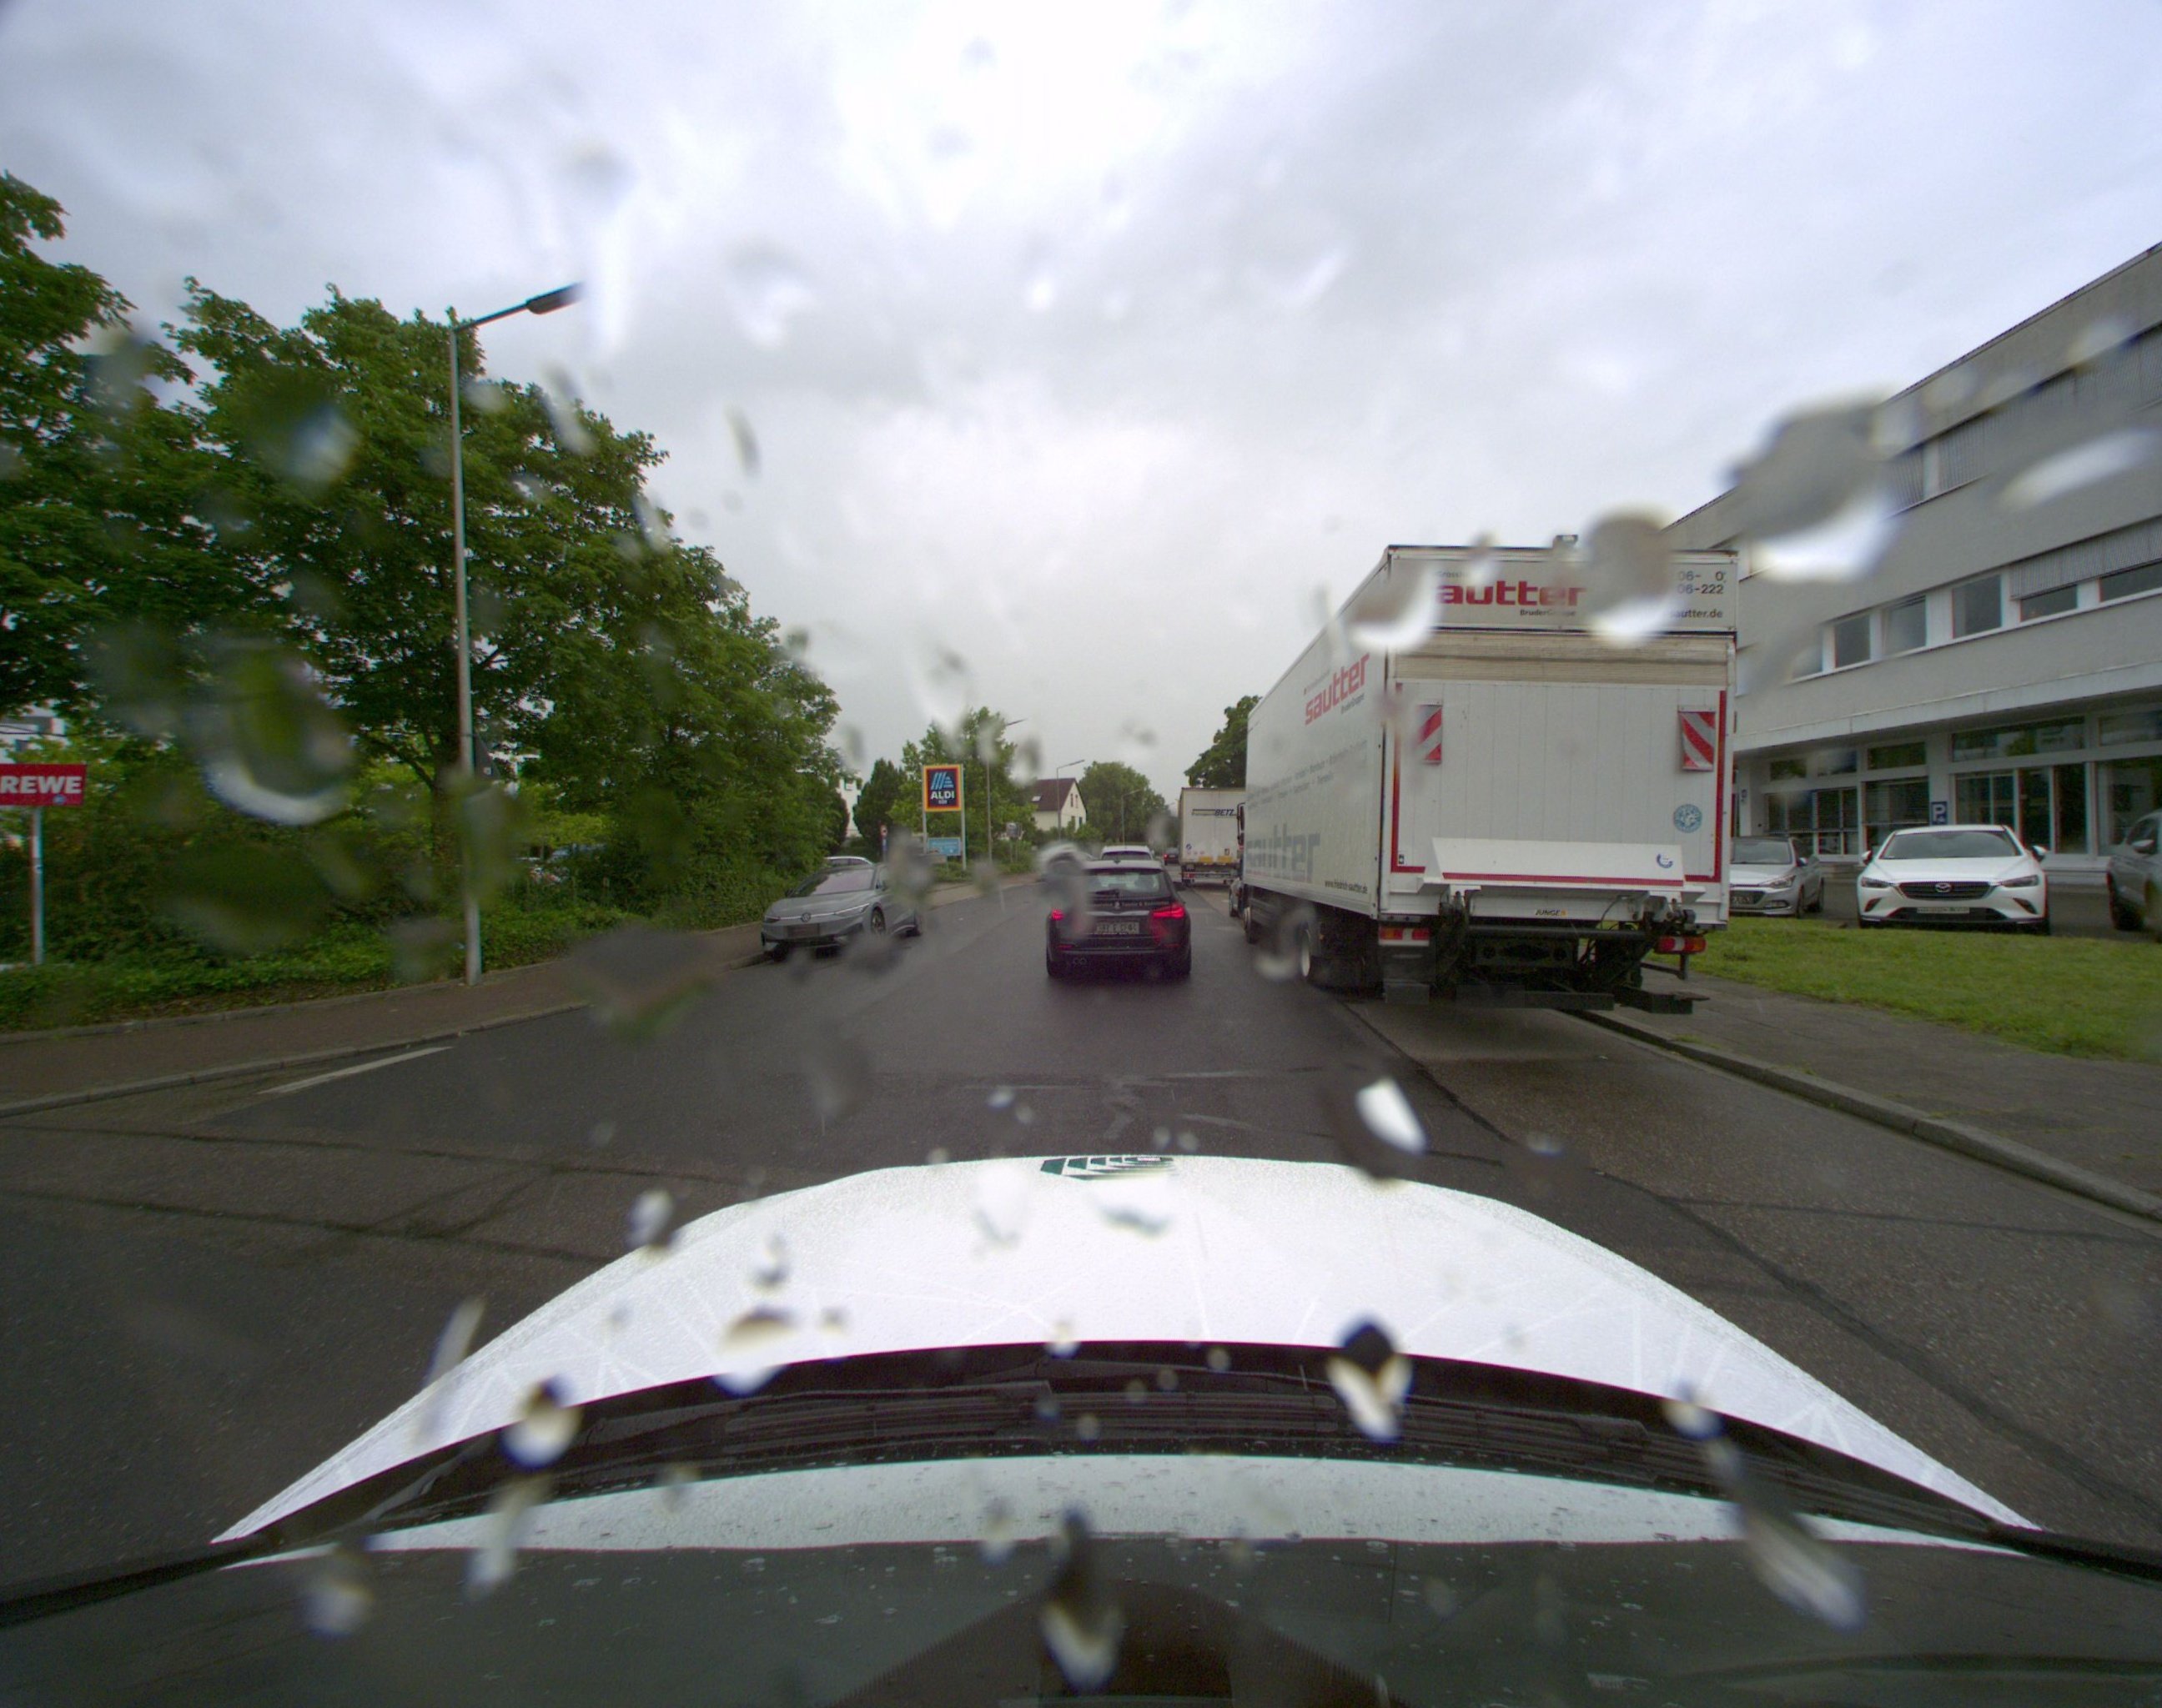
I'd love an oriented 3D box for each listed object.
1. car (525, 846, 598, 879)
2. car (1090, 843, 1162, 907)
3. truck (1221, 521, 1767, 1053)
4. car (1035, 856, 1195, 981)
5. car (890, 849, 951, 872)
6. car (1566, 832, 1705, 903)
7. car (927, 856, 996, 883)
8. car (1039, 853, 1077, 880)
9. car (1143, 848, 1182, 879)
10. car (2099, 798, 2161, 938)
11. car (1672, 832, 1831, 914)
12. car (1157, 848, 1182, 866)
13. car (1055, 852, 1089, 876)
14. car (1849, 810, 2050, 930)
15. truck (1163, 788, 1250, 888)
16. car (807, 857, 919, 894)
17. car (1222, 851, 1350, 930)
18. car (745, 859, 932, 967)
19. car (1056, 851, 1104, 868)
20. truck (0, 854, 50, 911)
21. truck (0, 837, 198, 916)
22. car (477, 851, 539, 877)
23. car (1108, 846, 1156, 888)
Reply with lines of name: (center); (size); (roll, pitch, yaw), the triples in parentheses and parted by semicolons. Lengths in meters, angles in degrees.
car: (-38.401, 0.616, 60.365); (1.985, 2.297, 4.818); (-2, 0, 3)
car: (1.167, 0.527, 22.518); (1.798, 1.586, 4.000); (-1, 0, 1)
truck: (3.758, -0.516, 10.505); (2.730, 3.789, 9.307); (1, 0, 3)
car: (0.419, 0.735, 11.206); (1.798, 1.395, 4.000); (-1, 0, 1)
car: (-11.865, 0.470, 60.321); (3.970, 1.540, 1.912); (-1, 0, 3)
car: (12.354, 0.245, 18.073); (3.789, 1.393, 1.686); (-2, 0, -42)
car: (-6.761, 0.867, 46.302); (3.553, 1.460, 1.714); (0, 0, 4)
car: (-1.304, 0.725, 48.336); (1.697, 1.367, 4.607); (-4, 0, 5)
car: (4.618, 0.540, 46.631); (1.986, 1.684, 4.002); (-1, -1, 2)
car: (13.750, 0.093, 9.617); (4.022, 1.527, 1.850); (-2, 0, -43)
car: (12.495, 0.287, 15.087); (4.022, 1.286, 1.686); (-2, 0, -42)
car: (8.209, 0.235, 75.011); (1.792, 1.586, 4.014); (-1, 0, 13)
car: (-0.567, 0.648, 54.337); (1.697, 1.367, 3.845); (-4, 0, 6)
car: (12.684, 0.162, 11.926); (4.022, 1.470, 1.754); (-2, 0, -42)
truck: (4.983, -0.613, 33.714); (2.730, 3.611, 7.755); (1, 0, 3)
car: (-9.034, 0.881, 33.931); (4.177, 1.460, 1.712); (-1, 0, 0)
car: (4.254, 0.690, 17.585); (1.790, 1.441, 4.347); (-2, 0, 2)
car: (-4.275, 0.941, 15.270); (1.802, 1.528, 4.750); (-5, 0, 2)
car: (-0.043, 0.510, 73.302); (4.169, 1.362, 1.590); (-1, 0, 3)
truck: (-40.414, 1.075, 28.015); (1.987, 2.094, 6.135); (-2, 0, 1)
truck: (-36.336, 0.754, 29.208); (1.984, 2.601, 6.404); (-2, 0, 4)
car: (-45.793, 0.795, 65.186); (1.985, 2.014, 4.004); (-1, -1, 3)
car: (2.031, 0.515, 33.575); (1.798, 1.586, 4.001); (-1, 0, 1)
